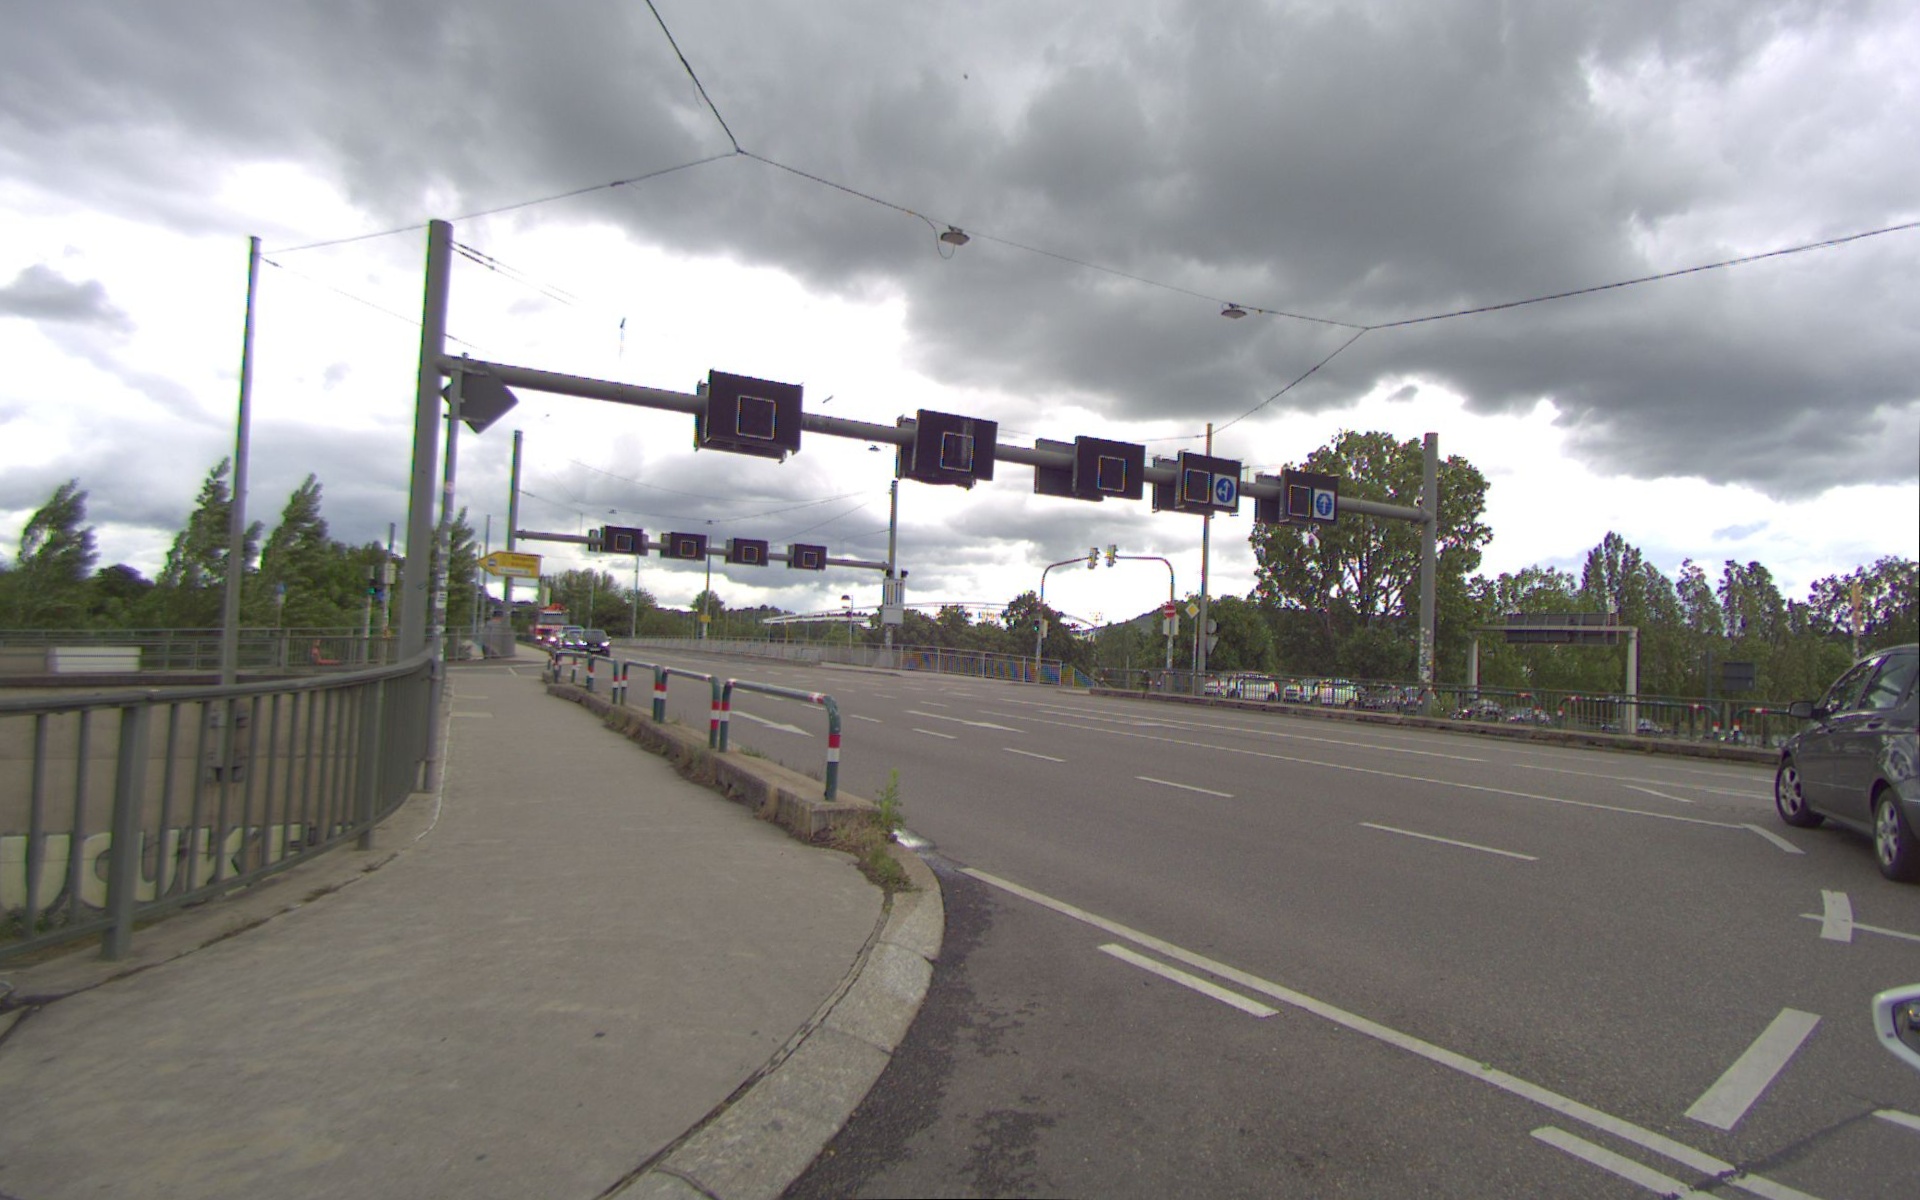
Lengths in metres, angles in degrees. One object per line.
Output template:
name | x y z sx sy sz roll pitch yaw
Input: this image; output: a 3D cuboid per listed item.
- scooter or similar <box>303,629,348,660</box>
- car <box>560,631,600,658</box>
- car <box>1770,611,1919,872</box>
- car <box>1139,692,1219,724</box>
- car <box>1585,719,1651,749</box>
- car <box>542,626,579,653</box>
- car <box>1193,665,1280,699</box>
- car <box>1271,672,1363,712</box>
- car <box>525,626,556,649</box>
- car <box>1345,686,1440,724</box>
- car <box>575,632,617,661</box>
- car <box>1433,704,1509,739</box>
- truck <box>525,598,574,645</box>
scooter or similar | -22.478 1.584 35.605 1.322 1.070 0.480 2 -2 -35
car | -23.483 2.744 61.966 1.818 1.524 4.486 3 -3 -27
car | 7.440 1.032 7.365 1.720 1.570 3.866 2 -4 30
car | 11.869 5.847 54.378 4.106 1.438 1.683 7 -6 -30
car | 42.972 8.736 65.628 3.953 1.638 1.986 7 -6 -28
car | -27.646 2.706 69.424 1.862 1.784 4.770 3 -3 -27
car | 13.098 3.864 47.515 3.717 1.329 1.780 7 -6 -26
car | 18.012 4.637 50.659 4.290 1.639 1.986 7 -6 -28
car | -31.582 2.807 75.582 1.862 1.624 3.988 3 -3 -27
car | 22.822 5.539 52.956 4.904 1.639 1.986 7 -6 -28
car | -20.423 2.579 56.248 1.817 1.524 3.847 3 -3 -25
car | 28.936 6.873 56.856 3.953 1.638 1.986 7 -6 -28
truck | -35.081 1.856 85.576 2.977 3.612 9.914 3 -3 -27
